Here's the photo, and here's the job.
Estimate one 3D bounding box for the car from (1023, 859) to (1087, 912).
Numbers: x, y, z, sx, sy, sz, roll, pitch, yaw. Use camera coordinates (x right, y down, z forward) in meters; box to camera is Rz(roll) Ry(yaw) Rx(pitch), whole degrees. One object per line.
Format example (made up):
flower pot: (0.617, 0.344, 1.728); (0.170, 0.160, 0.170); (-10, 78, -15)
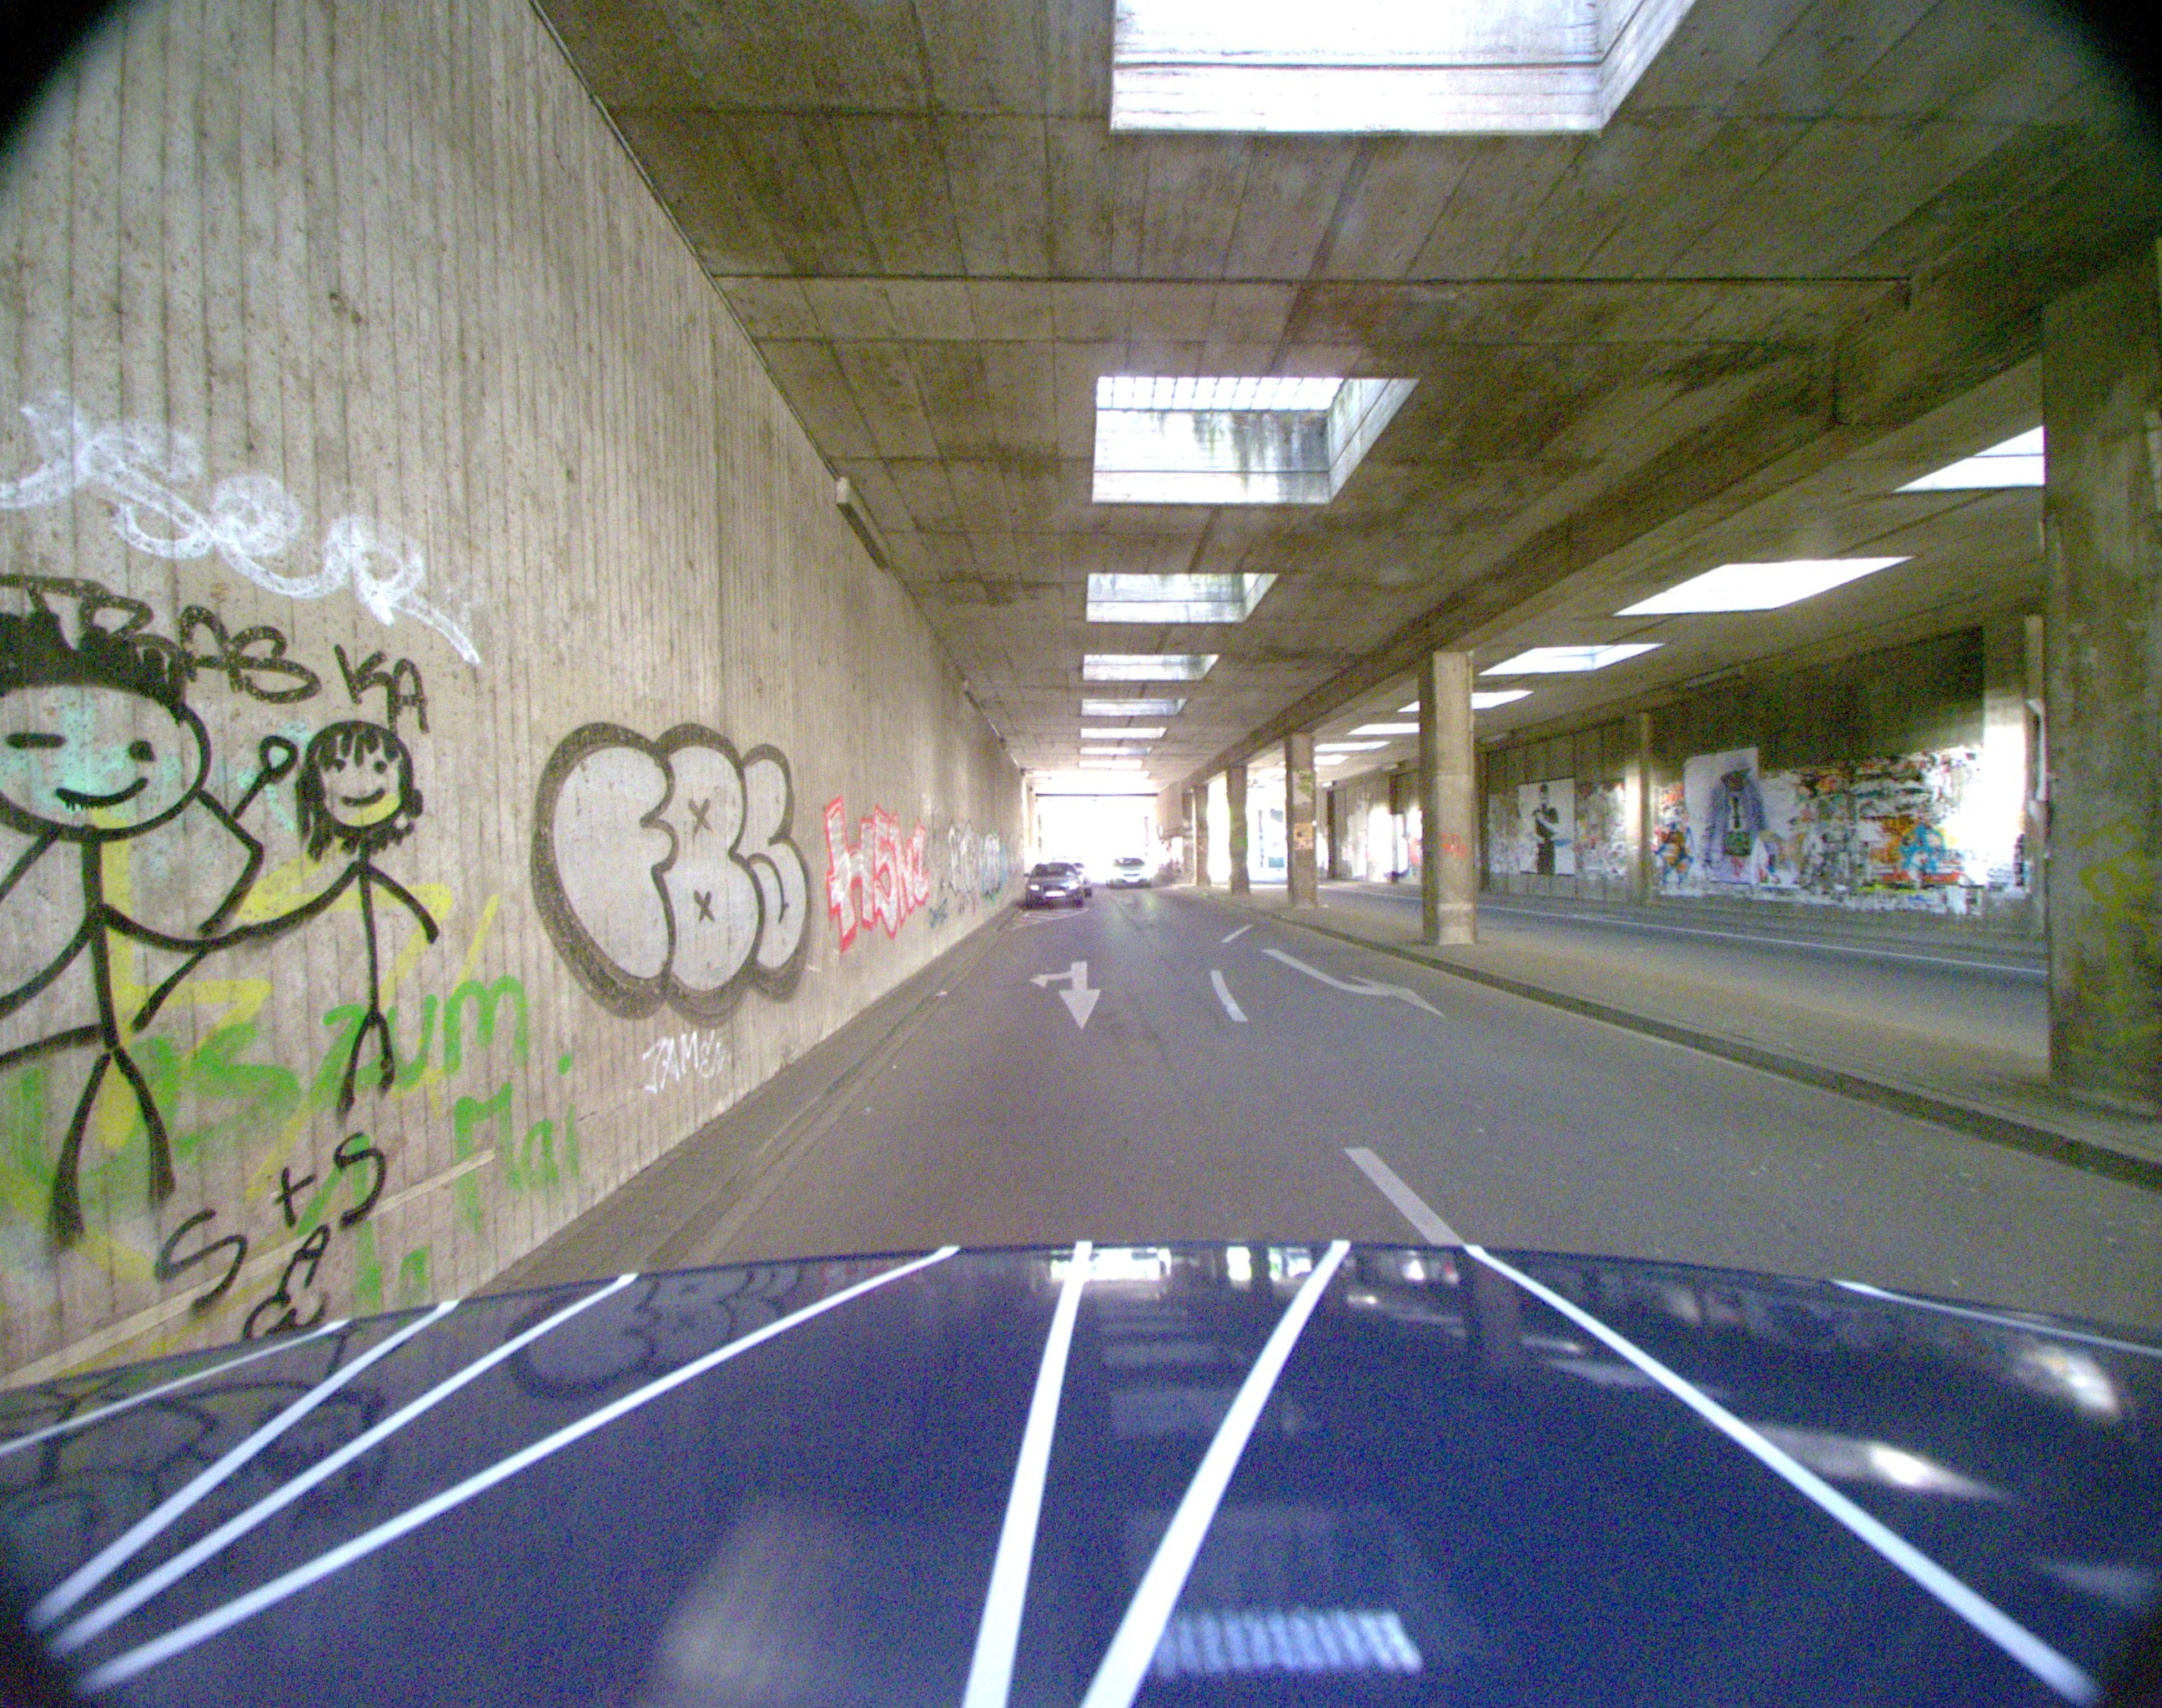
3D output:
car: (-0.743, 0.917, 23.928); (1.767, 1.407, 3.999); (-2, 1, 1)

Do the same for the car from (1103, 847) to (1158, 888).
car: (2.224, 0.558, 35.525); (1.999, 1.740, 4.858); (-2, 1, -2)

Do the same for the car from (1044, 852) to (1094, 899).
car: (-0.502, 0.777, 29.849); (1.767, 1.634, 3.999); (-2, 1, -2)

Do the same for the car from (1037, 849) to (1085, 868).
car: (-2.071, 0.418, 78.974); (4.857, 1.740, 1.999); (-2, 1, -2)

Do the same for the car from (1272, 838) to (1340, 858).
car: (23.392, -0.634, 79.198); (6.532, 1.740, 2.001); (-2, 1, 7)
